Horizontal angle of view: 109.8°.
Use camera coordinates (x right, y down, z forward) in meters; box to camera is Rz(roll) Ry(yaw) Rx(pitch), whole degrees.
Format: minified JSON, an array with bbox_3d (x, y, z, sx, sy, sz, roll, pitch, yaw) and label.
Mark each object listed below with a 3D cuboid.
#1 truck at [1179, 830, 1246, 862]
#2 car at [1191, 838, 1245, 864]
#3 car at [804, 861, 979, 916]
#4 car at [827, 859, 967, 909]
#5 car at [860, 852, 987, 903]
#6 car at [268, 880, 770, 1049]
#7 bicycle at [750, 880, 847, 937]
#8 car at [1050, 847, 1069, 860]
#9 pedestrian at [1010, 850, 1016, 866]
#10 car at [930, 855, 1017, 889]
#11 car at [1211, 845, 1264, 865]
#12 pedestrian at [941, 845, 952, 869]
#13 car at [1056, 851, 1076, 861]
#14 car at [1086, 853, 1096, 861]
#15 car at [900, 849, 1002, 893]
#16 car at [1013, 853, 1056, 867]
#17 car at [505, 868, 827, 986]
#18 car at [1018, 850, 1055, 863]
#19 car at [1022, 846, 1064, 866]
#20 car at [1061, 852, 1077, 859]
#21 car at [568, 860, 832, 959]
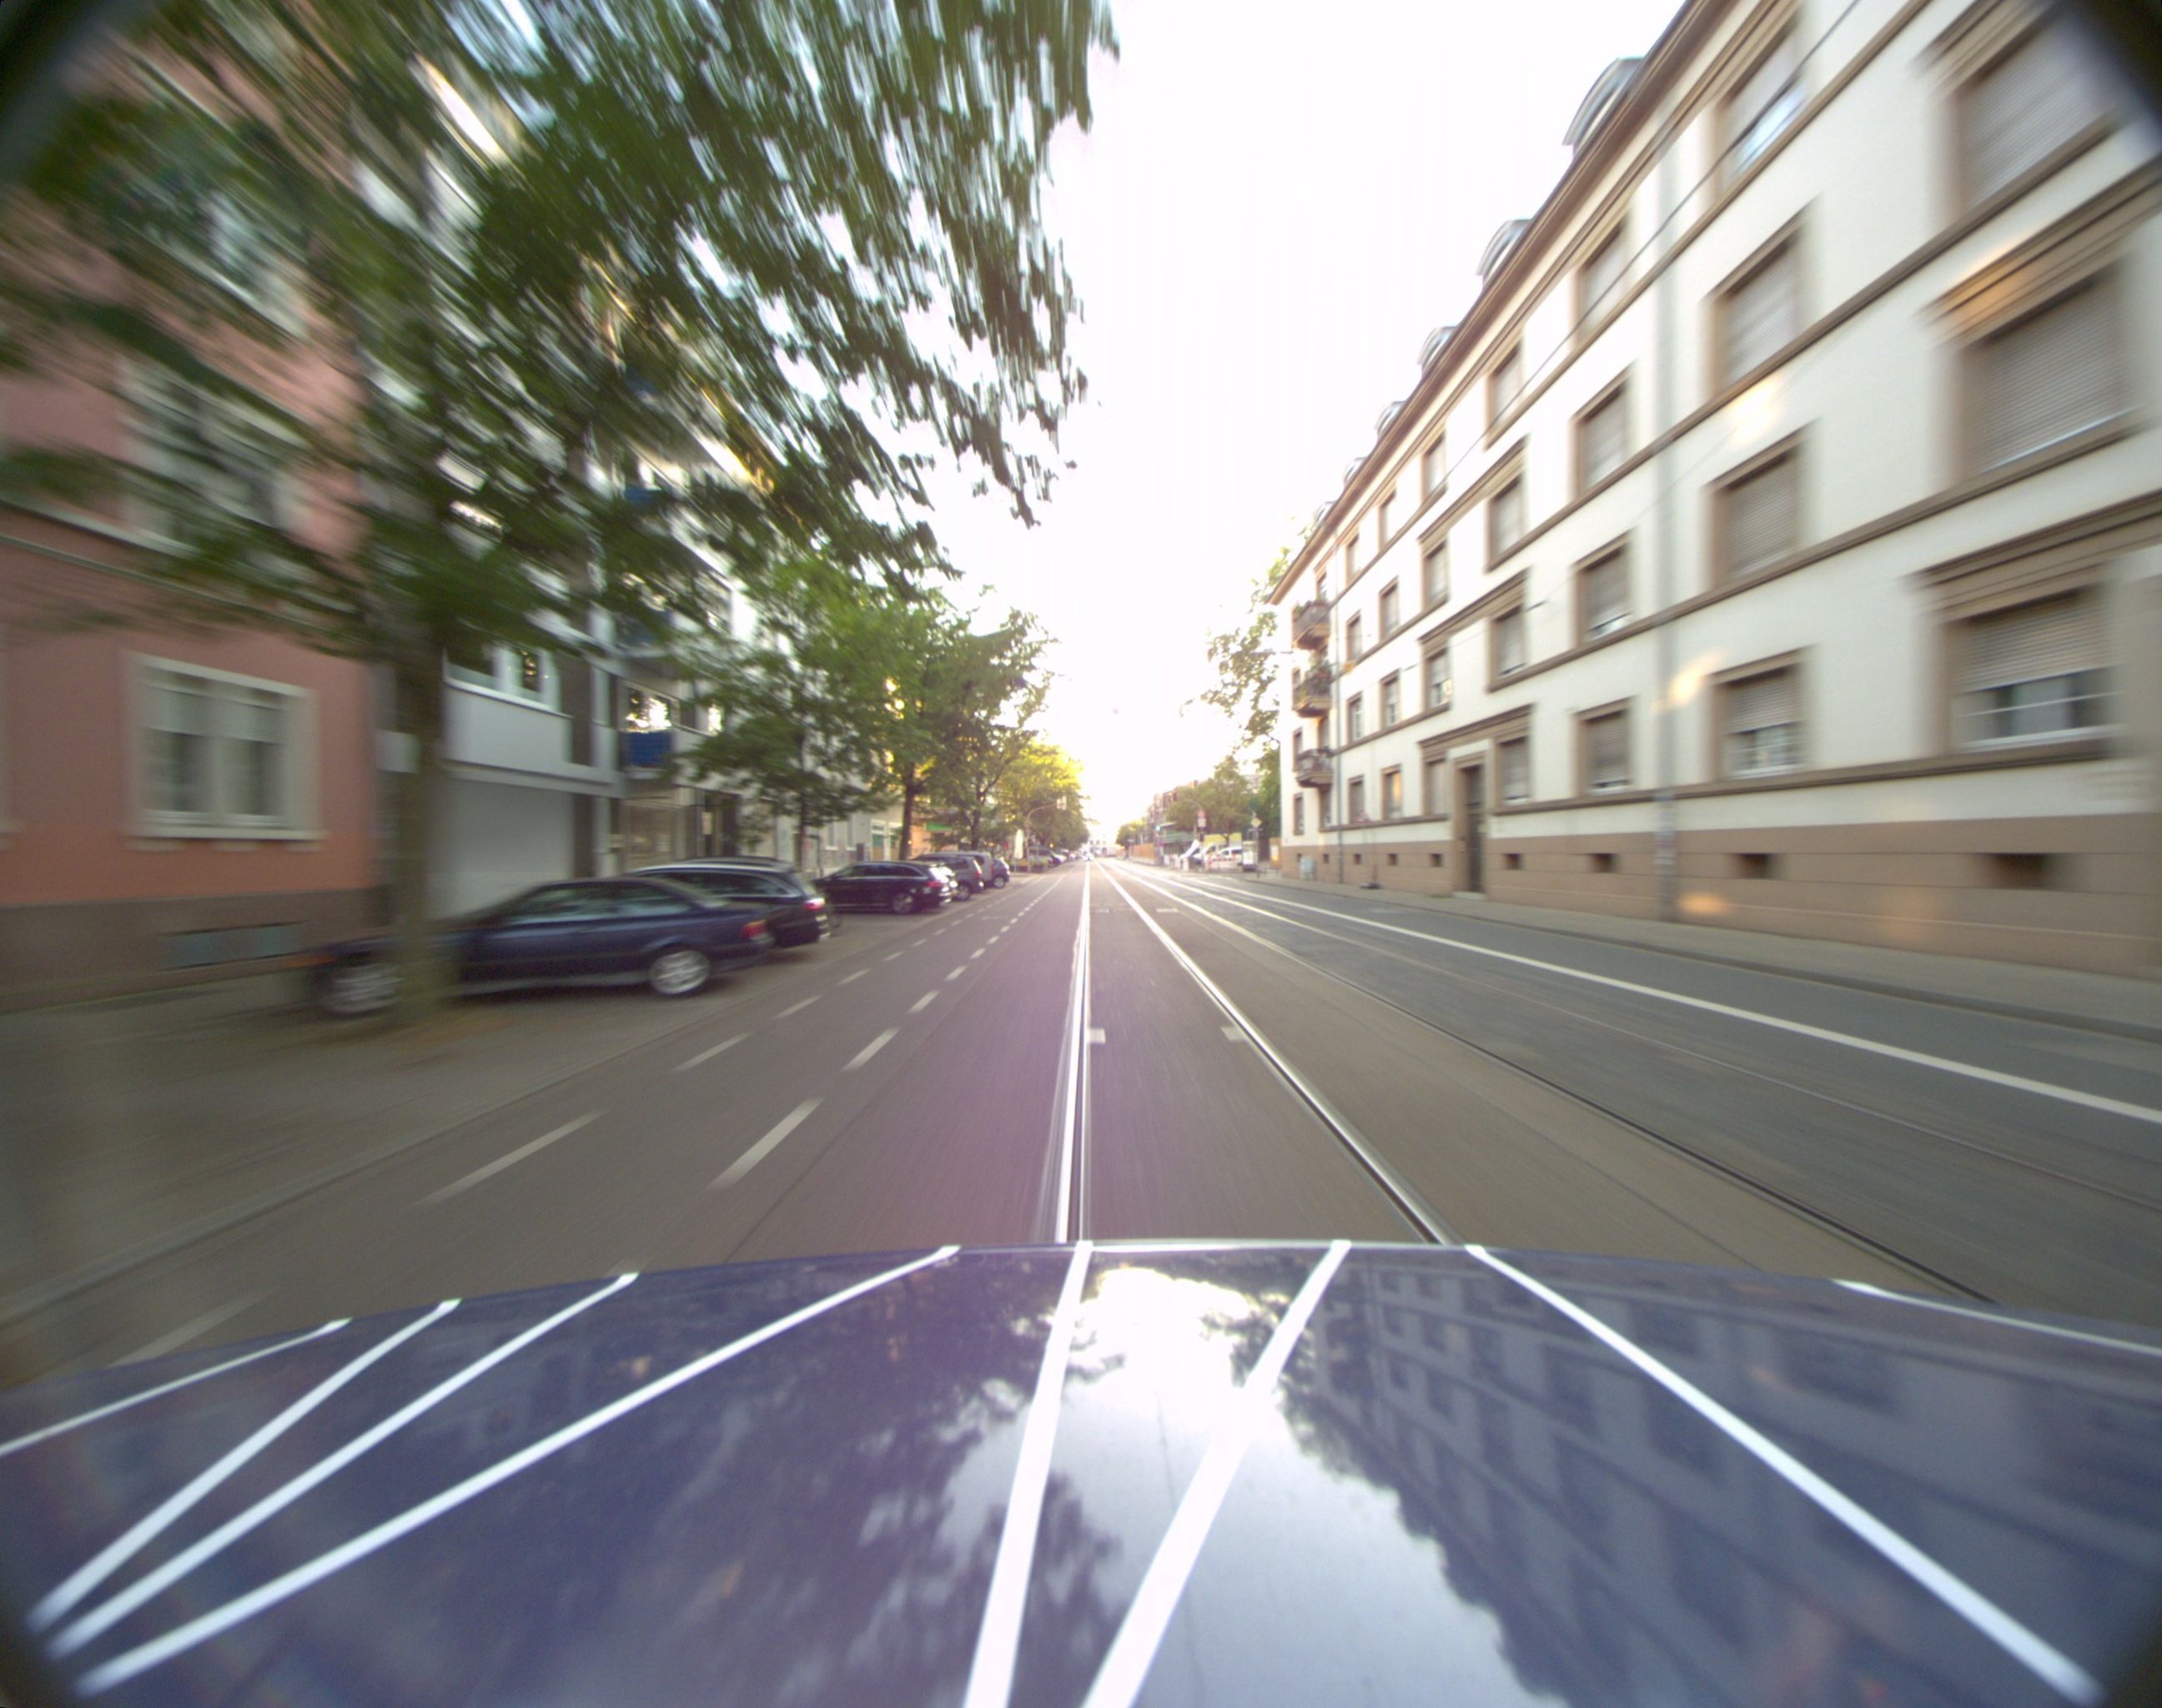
[{"bbox_3d":[15.056,-0.872,87.381,7.077,3.408,2.565,-2,0,-3],"label":"truck"},{"bbox_3d":[14.616,-0.319,81.443,5.233,2.582,2.229,-2,0,-3],"label":"car"},{"bbox_3d":[-5.133,0.917,20.960,4.388,1.455,1.720,0,0,0],"label":"car"},{"bbox_3d":[-5.599,0.869,23.168,4.003,1.455,1.717,0,0,-17],"label":"car"},{"bbox_3d":[-5.614,0.799,27.029,4.197,1.686,1.843,0,0,-22],"label":"car"},{"bbox_3d":[-5.891,1.078,8.651,4.268,1.380,1.617,-1,0,-25],"label":"car"},{"bbox_3d":[-5.960,1.144,16.121,1.801,1.137,0.731,0,1,-7],"label":"bicycle"},{"bbox_3d":[-4.610,-0.092,161.178,3.991,2.551,1.722,0,0,1],"label":"car"},{"bbox_3d":[-7.399,0.441,82.518,0.498,1.742,0.646,1,1,5],"label":"pedestrian"},{"bbox_3d":[-5.393,0.865,38.078,4.003,1.531,1.776,-1,0,-18],"label":"car"},{"bbox_3d":[15.543,0.078,75.701,4.844,1.862,2.015,-2,0,2],"label":"car"},{"bbox_3d":[-10.491,0.244,59.349,0.558,1.821,0.613,-1,-2,38],"label":"pedestrian"},{"bbox_3d":[-3.305,0.425,164.286,3.997,1.952,1.720,0,-1,-14],"label":"car"},{"bbox_3d":[2.120,0.621,162.569,1.998,1.674,4.000,-2,0,1],"label":"car"},{"bbox_3d":[-5.562,0.723,32.472,4.004,1.805,1.821,0,0,-20],"label":"car"},{"bbox_3d":[-5.327,0.678,87.611,4.643,1.508,1.807,1,-1,-26],"label":"car"},{"bbox_3d":[-5.955,0.990,11.451,3.977,1.544,1.717,0,-1,-17],"label":"car"},{"bbox_3d":[-5.288,0.330,90.496,4.121,1.444,1.808,0,-1,-15],"label":"car"},{"bbox_3d":[-4.982,0.228,100.605,5.236,2.605,1.925,0,0,-16],"label":"car"},{"bbox_3d":[-2.970,0.336,189.869,3.991,1.681,1.722,0,-1,1],"label":"car"},{"bbox_3d":[-6.597,0.904,13.614,4.004,1.584,1.717,0,-1,-20],"label":"car"}]
